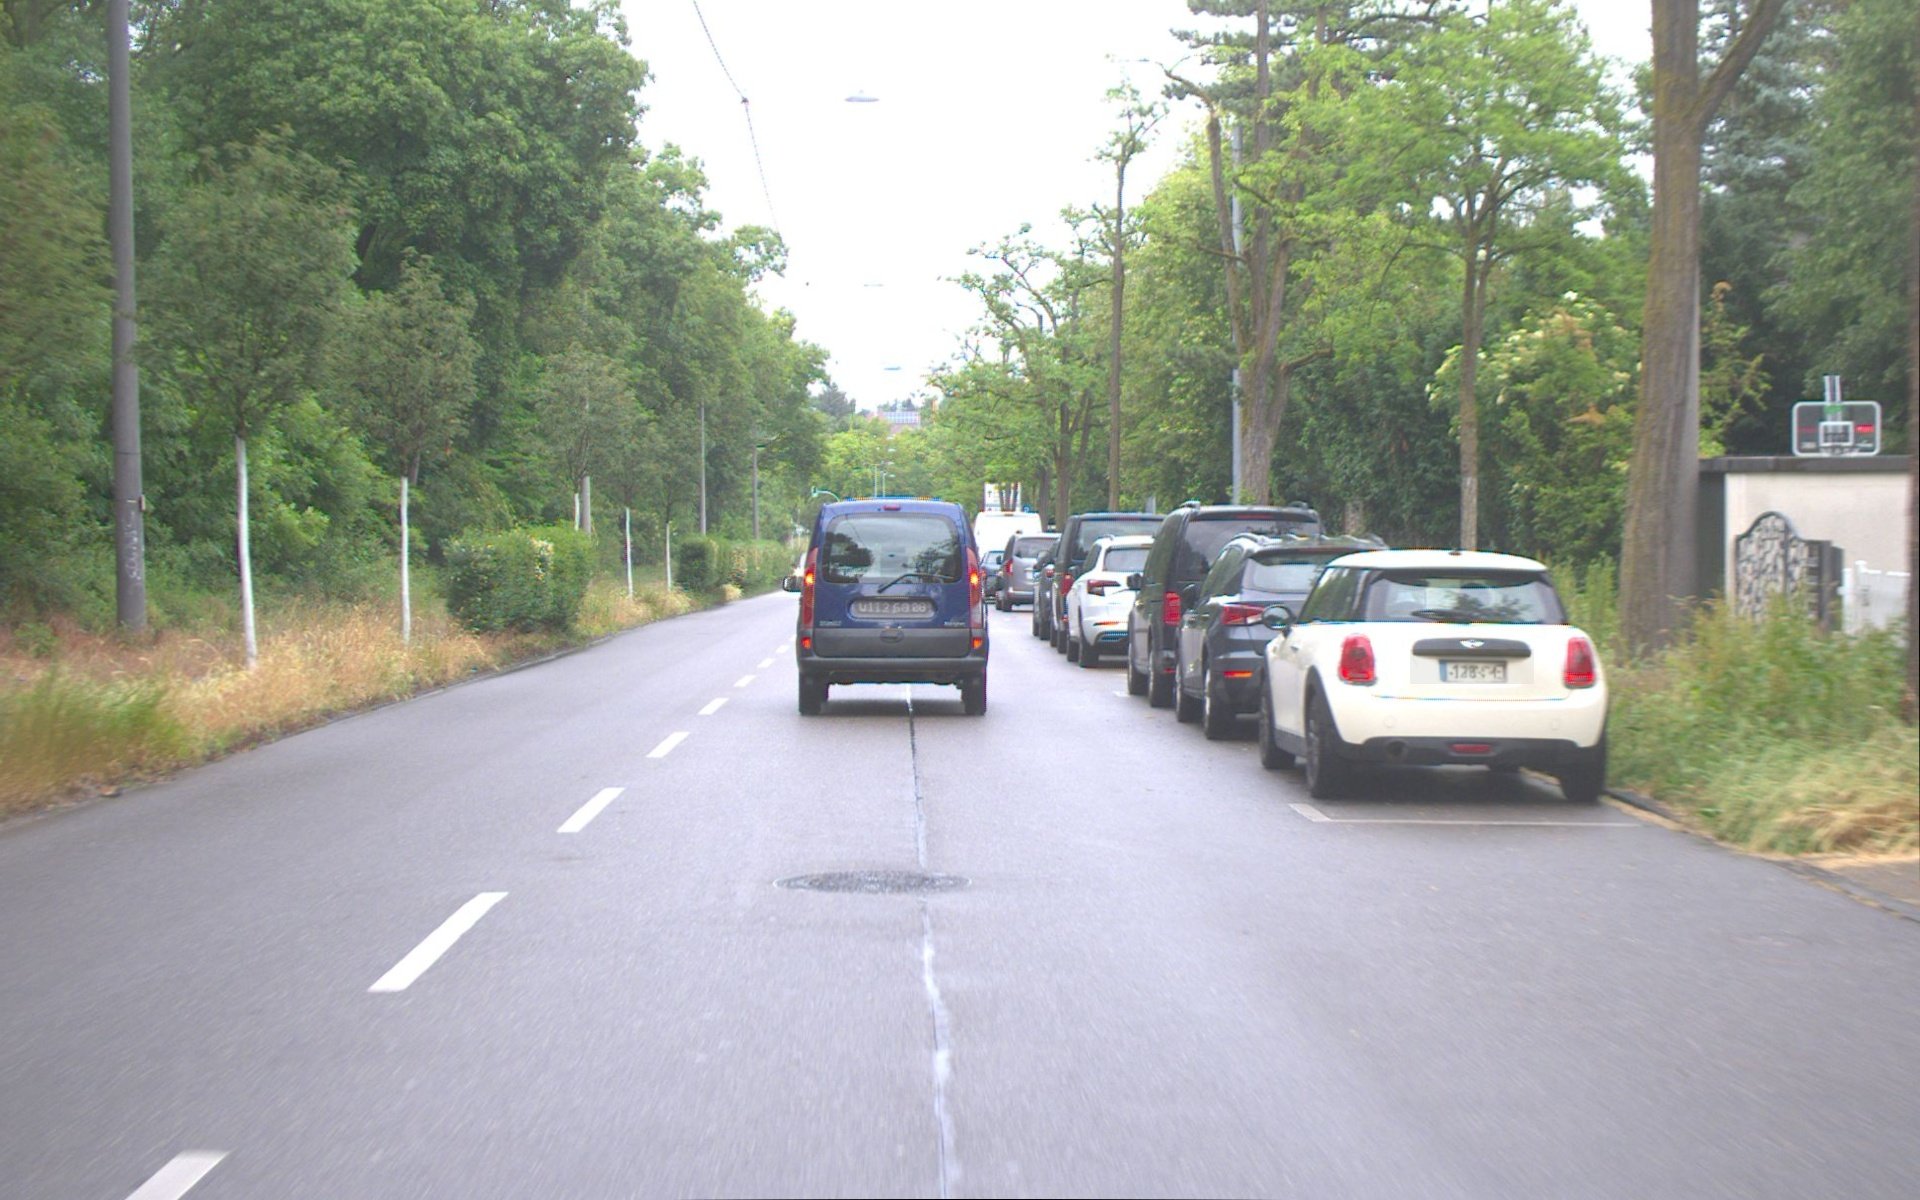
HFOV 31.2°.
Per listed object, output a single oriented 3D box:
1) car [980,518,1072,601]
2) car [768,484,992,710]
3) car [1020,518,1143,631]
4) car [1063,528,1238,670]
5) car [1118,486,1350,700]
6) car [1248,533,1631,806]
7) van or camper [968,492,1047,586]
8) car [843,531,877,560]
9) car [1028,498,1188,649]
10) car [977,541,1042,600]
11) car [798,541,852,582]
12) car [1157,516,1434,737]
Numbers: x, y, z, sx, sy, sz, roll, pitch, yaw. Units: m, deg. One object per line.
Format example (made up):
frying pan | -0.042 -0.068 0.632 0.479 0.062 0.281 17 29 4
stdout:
car | 1.498 -0.955 79.269 1.814 1.807 4.283 1 2 -3
car | -0.754 -0.073 29.947 1.766 1.824 3.543 1 2 -4
car | 1.940 -0.453 55.984 1.773 1.717 4.327 1 2 0
car | 2.313 -0.059 42.739 1.804 1.607 4.287 1 2 -1
car | 2.490 -0.122 32.156 1.730 1.841 4.230 1 2 -1
car | 2.833 0.353 21.057 1.738 1.459 3.725 1 2 -1
van or camper | 1.348 -1.804 100.105 2.078 2.641 5.346 1 2 -1
car | -5.309 -2.894 183.242 1.783 1.474 3.968 -1 0 -1
car | 2.064 -0.431 49.257 1.993 2.006 4.888 1 2 0
car | 1.357 -0.808 92.294 1.626 1.459 3.807 1 2 2
car | -5.067 -1.452 129.525 1.860 1.475 4.156 -1 1 0
car | 2.545 0.140 26.923 1.678 1.550 4.076 1 2 -1
